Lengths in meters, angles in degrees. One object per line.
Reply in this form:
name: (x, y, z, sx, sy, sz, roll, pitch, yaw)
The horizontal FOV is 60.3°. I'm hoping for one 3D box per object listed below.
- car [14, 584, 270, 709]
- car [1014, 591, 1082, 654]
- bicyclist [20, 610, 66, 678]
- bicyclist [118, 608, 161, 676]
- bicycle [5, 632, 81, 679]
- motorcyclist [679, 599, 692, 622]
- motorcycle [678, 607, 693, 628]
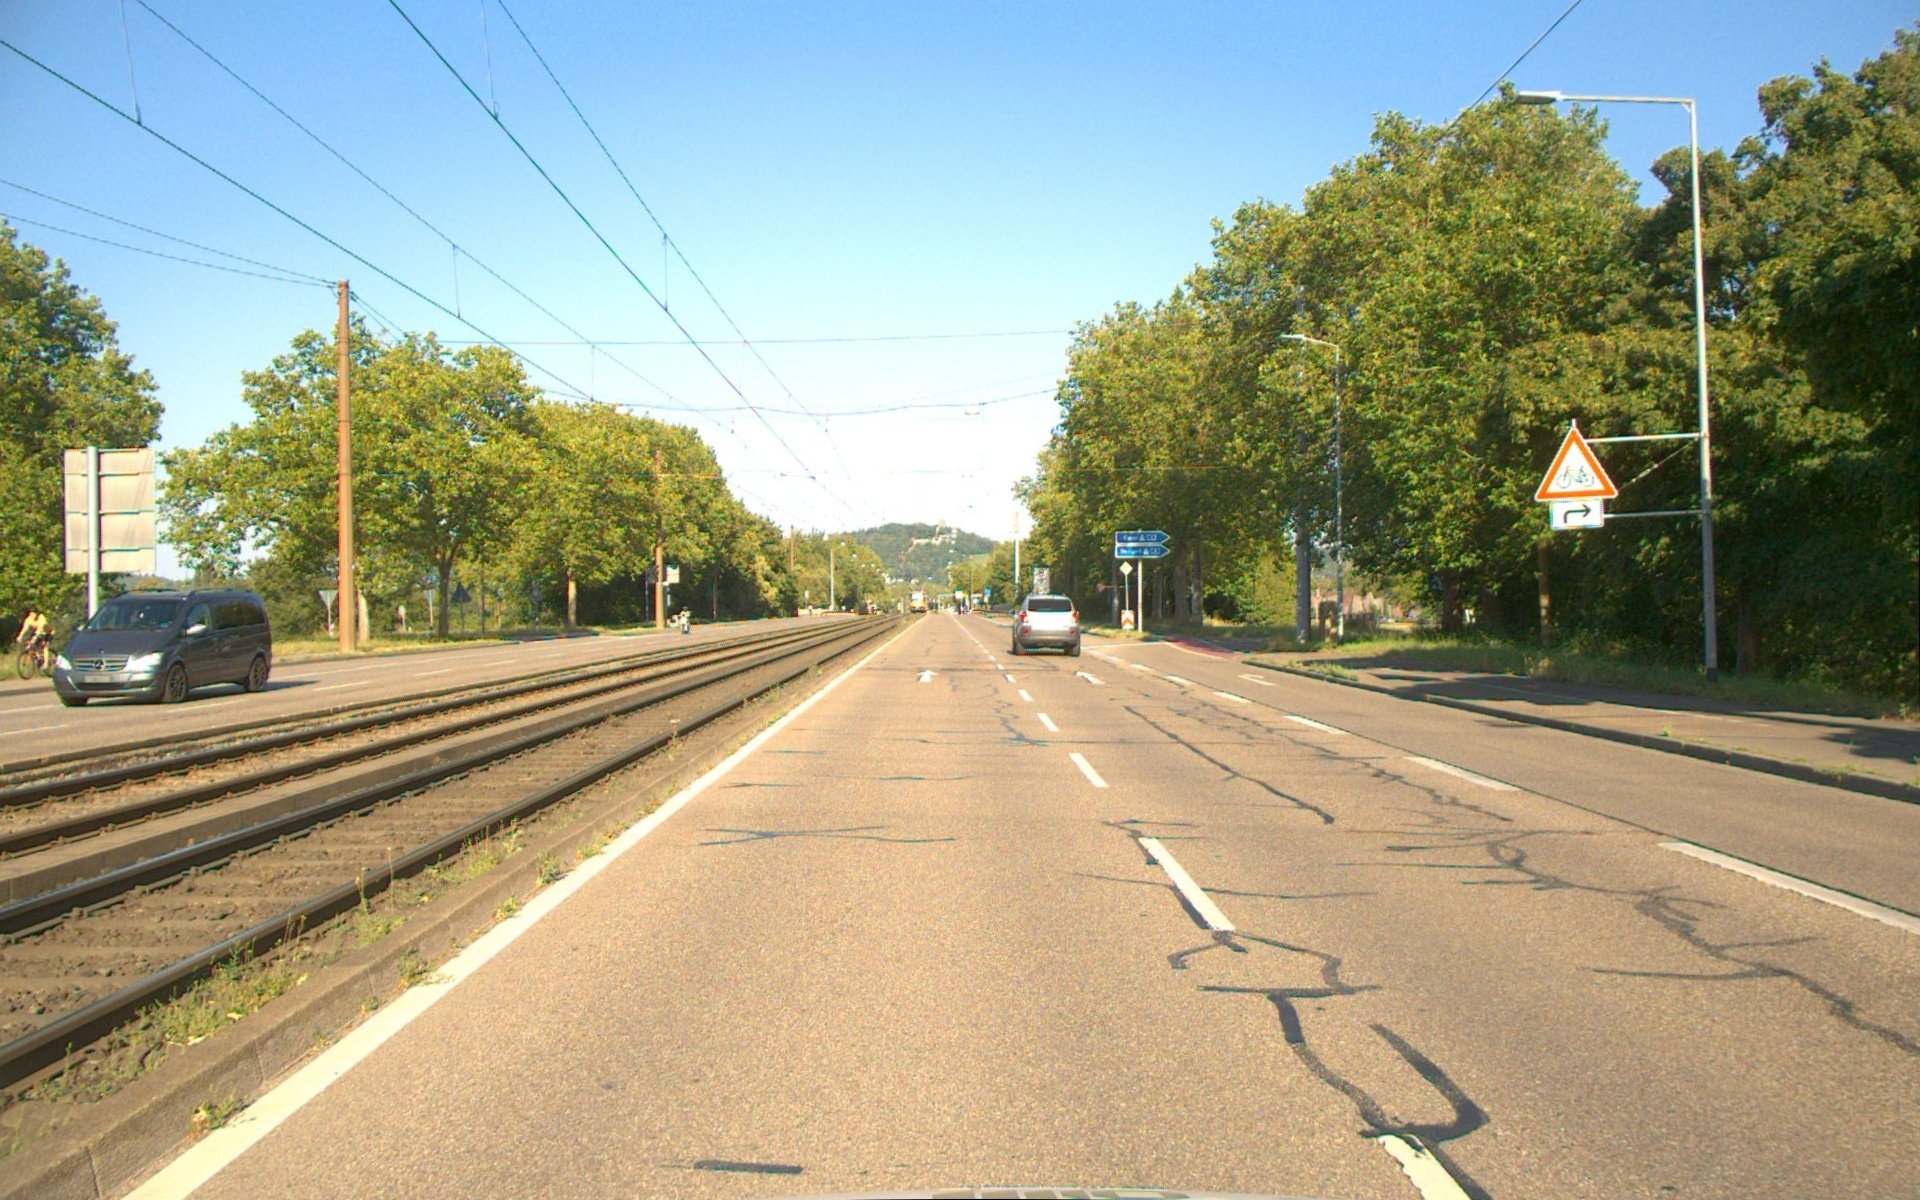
car: (-14.021, 0.757, 28.721, 1.952, 1.956, 4.860, -1, -1, 1)
car: (2.509, 0.643, 47.876, 1.849, 1.723, 4.257, 0, -1, 2)
bicyclist: (-21.352, 1.017, 38.515, 0.578, 1.555, 0.906, -1, -1, -1)
bicyclist: (-20.093, 1.031, 40.531, 0.578, 1.639, 0.967, -1, -1, -1)
bicycle: (-21.350, 1.284, 38.550, 0.578, 1.040, 2.185, -1, 0, -1)
motorcyclist: (-15.450, 0.606, 93.094, 0.525, 1.292, 0.805, 1, -1, -1)
motorcycle: (-15.457, 0.986, 93.111, 0.525, 1.110, 1.901, 1, -1, -1)
